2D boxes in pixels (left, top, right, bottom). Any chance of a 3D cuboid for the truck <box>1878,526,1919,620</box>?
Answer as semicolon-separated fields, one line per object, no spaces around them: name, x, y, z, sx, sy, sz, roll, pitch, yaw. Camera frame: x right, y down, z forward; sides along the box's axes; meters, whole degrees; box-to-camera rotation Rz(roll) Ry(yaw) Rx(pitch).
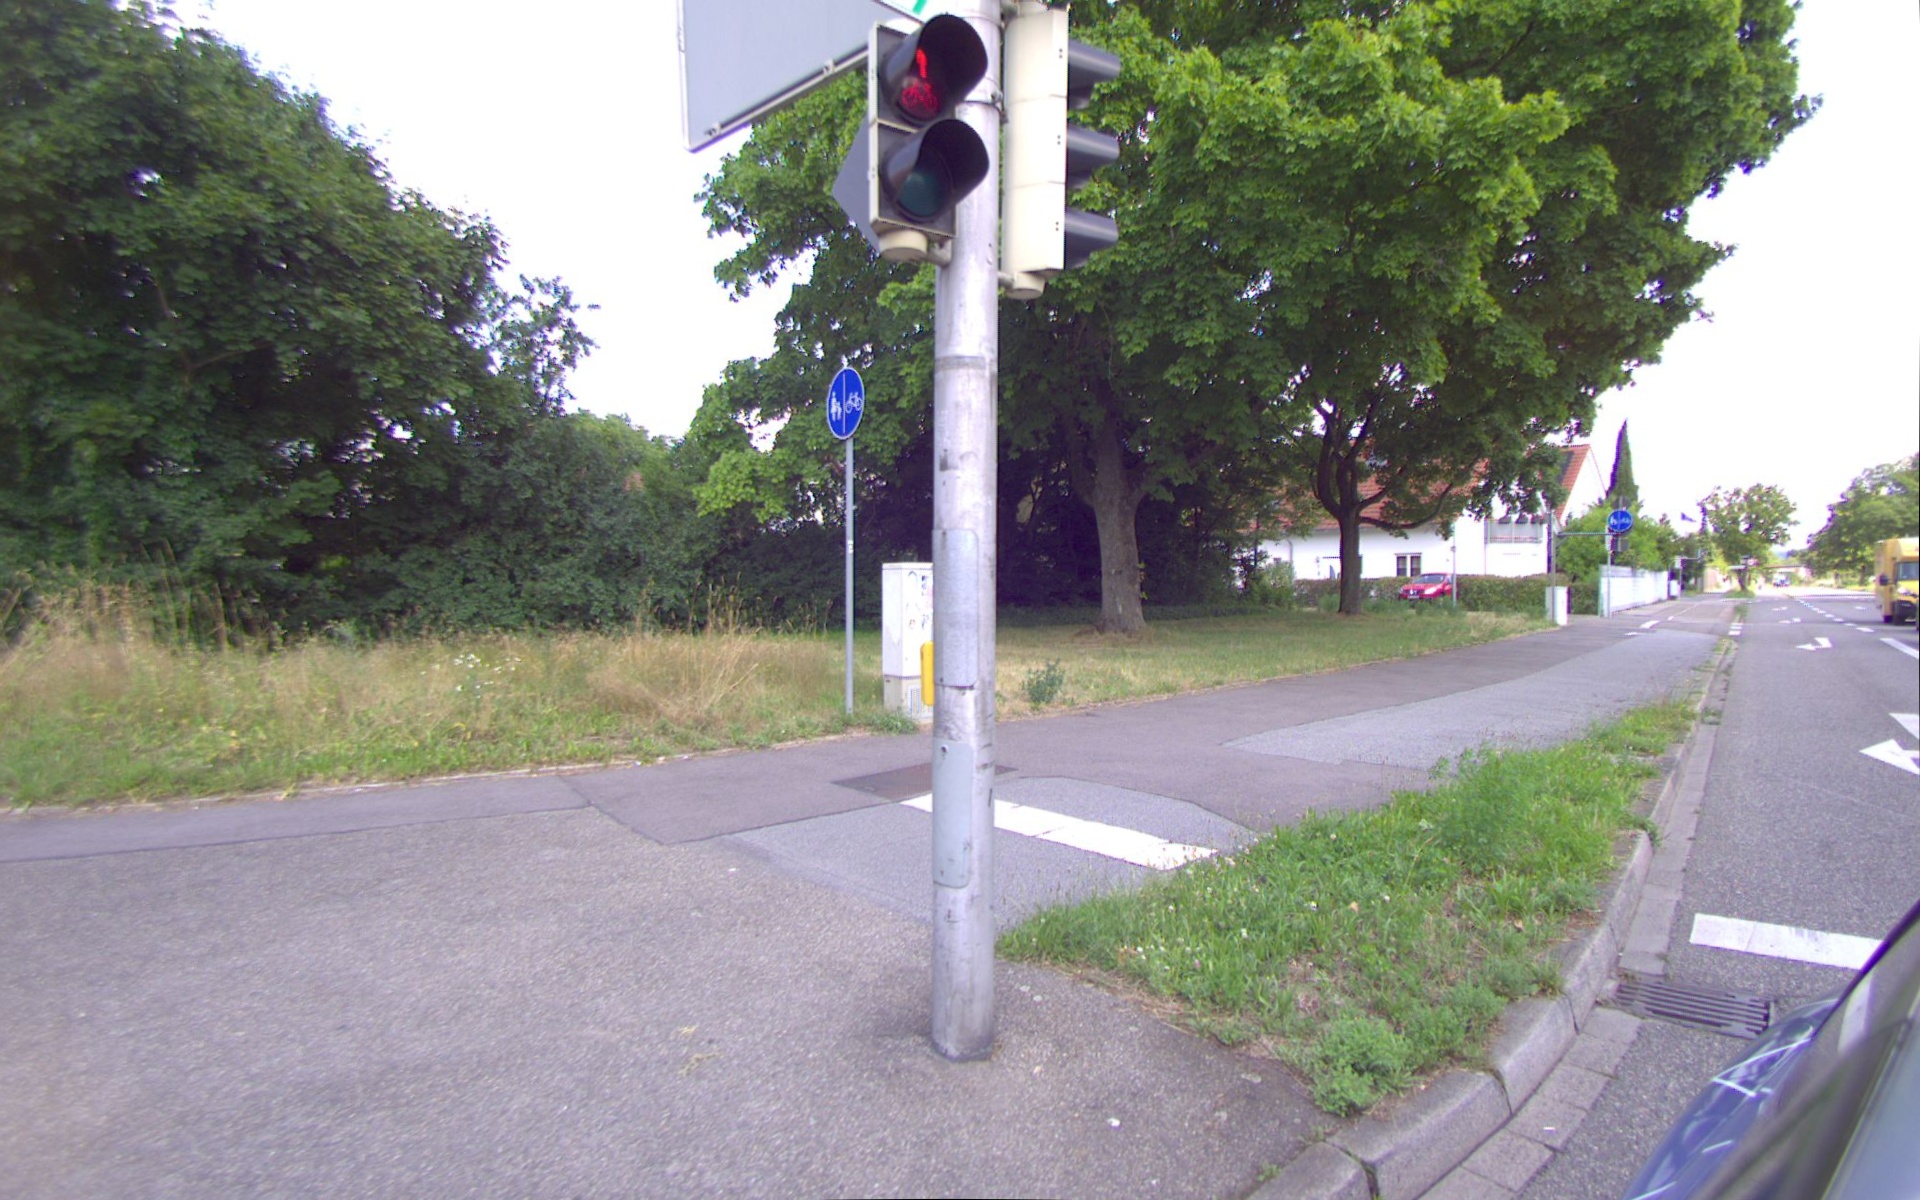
truck;32.365;-0.923;33.551;2.353;2.896;6.870;-2;0;39

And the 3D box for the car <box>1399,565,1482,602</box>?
car;21.194;-0.723;44.576;4.316;1.549;1.680;-1;1;-41
